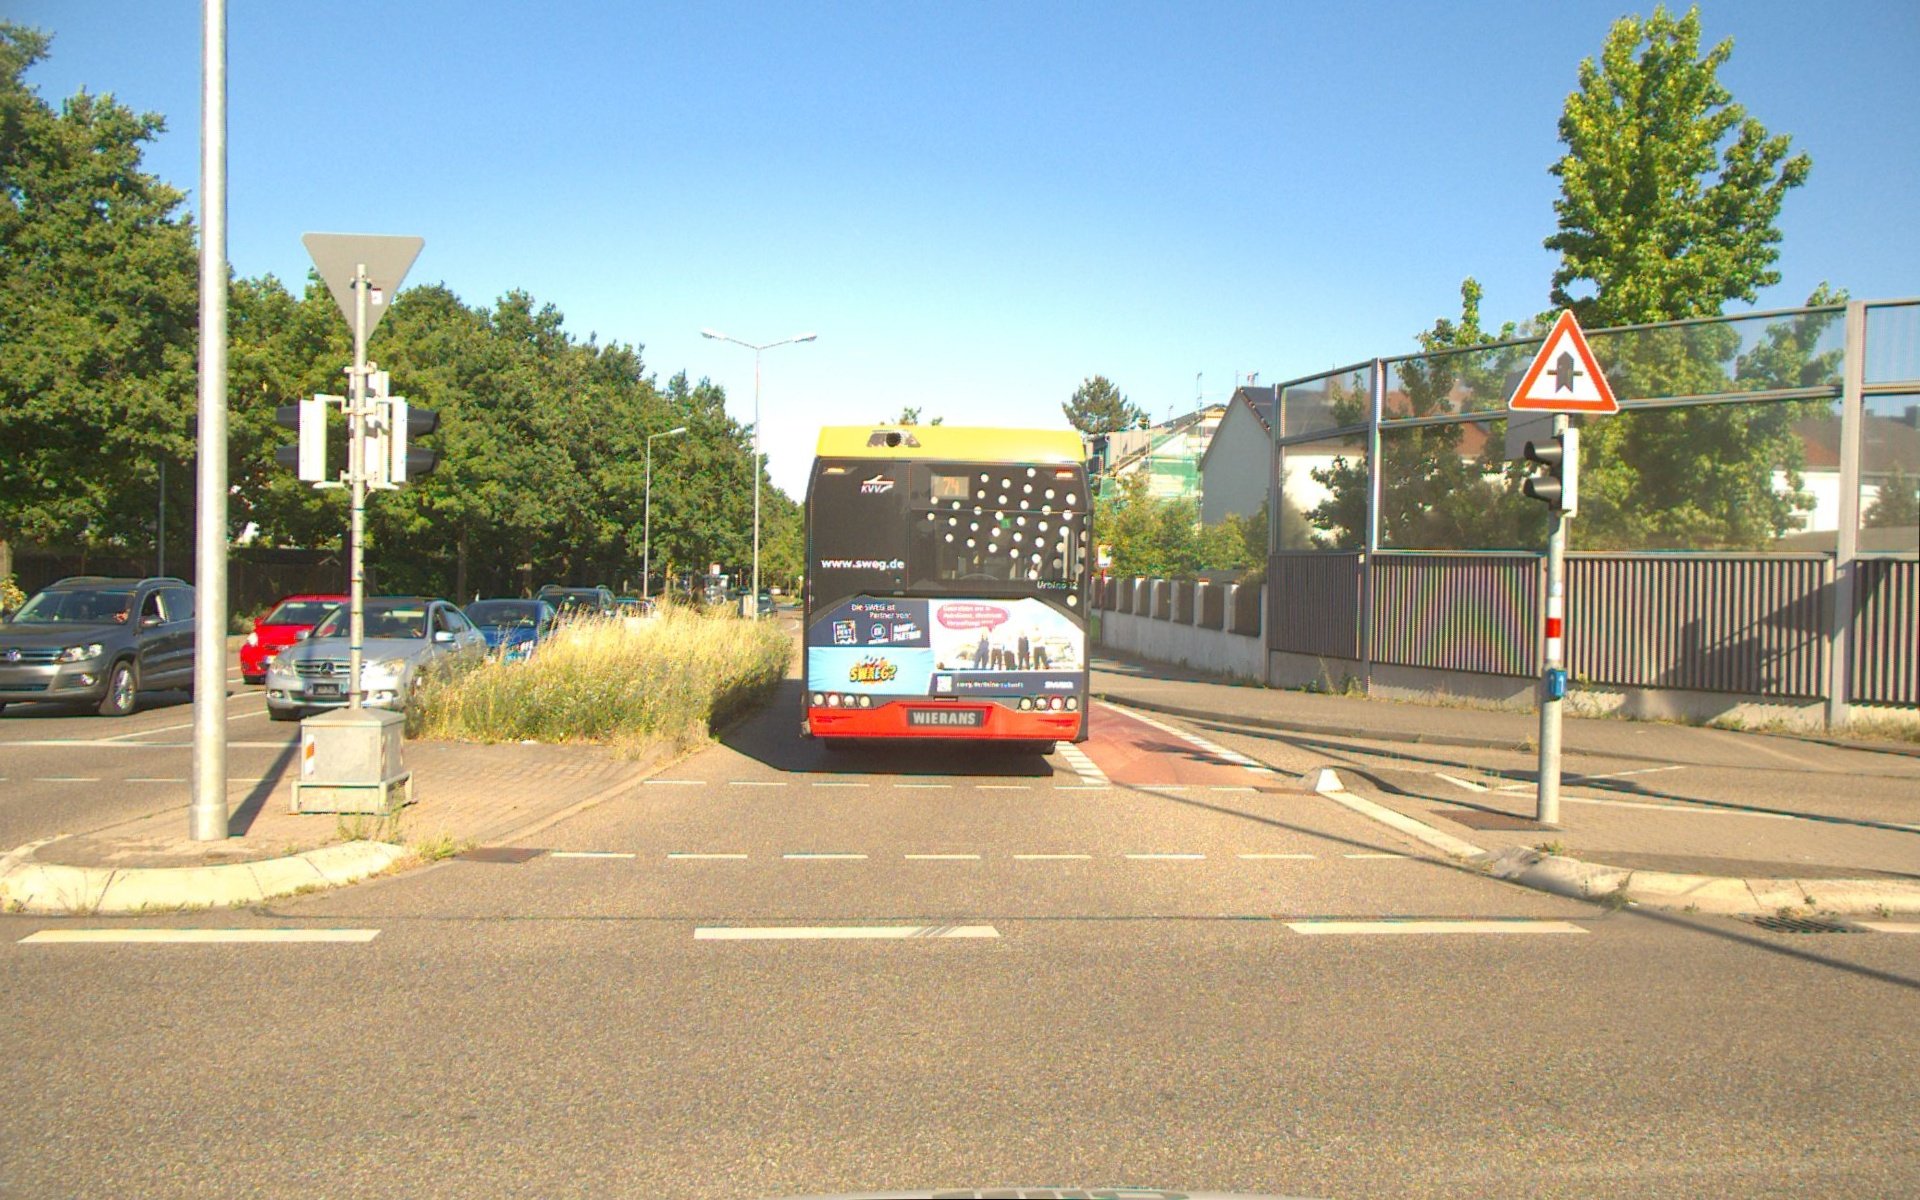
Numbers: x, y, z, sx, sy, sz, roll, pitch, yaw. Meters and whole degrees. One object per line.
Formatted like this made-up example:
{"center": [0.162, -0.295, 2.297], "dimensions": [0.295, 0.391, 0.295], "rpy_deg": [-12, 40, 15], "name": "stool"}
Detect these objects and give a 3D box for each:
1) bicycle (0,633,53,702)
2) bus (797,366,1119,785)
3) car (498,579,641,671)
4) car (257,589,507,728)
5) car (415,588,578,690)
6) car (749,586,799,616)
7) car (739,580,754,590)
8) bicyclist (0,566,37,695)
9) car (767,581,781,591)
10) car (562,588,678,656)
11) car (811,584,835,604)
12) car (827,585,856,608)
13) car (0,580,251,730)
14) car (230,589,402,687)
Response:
{"center": [-13.265, 0.930, 22.588], "dimensions": [0.734, 0.862, 1.989], "rpy_deg": [1, 1, -3], "name": "bicycle"}
{"center": [-0.173, -0.209, 20.131], "dimensions": [2.701, 3.519, 12.394], "rpy_deg": [0, 0, -2], "name": "bus"}
{"center": [-7.651, 0.433, 32.824], "dimensions": [1.954, 1.644, 4.528], "rpy_deg": [1, 1, -3], "name": "car"}
{"center": [-7.264, 0.664, 21.294], "dimensions": [1.757, 1.532, 4.529], "rpy_deg": [1, 1, -2], "name": "car"}
{"center": [-7.584, 0.583, 27.390], "dimensions": [1.711, 1.509, 3.887], "rpy_deg": [1, 1, -2], "name": "car"}
{"center": [-9.229, 0.032, 82.404], "dimensions": [1.673, 1.456, 4.003], "rpy_deg": [0, 1, 6], "name": "car"}
{"center": [-31.481, -2.221, 243.764], "dimensions": [1.898, 1.479, 3.991], "rpy_deg": [1, 0, -10], "name": "car"}
{"center": [-13.269, 0.397, 22.534], "dimensions": [0.729, 1.732, 1.241], "rpy_deg": [1, 1, -3], "name": "bicyclist"}
{"center": [-27.502, -2.113, 244.349], "dimensions": [1.898, 1.479, 3.991], "rpy_deg": [1, 0, -10], "name": "car"}
{"center": [-7.786, 0.488, 38.226], "dimensions": [1.954, 1.476, 4.397], "rpy_deg": [1, 0, -3], "name": "car"}
{"center": [-12.480, -0.532, 150.373], "dimensions": [1.897, 1.772, 3.992], "rpy_deg": [1, 0, -9], "name": "car"}
{"center": [-9.241, -0.269, 128.345], "dimensions": [1.900, 1.734, 3.992], "rpy_deg": [1, 0, -9], "name": "car"}
{"center": [-11.007, 0.605, 21.248], "dimensions": [1.953, 1.672, 4.529], "rpy_deg": [1, 1, -2], "name": "car"}
{"center": [-10.999, 0.600, 28.485], "dimensions": [1.612, 1.509, 3.712], "rpy_deg": [1, 1, -2], "name": "car"}
